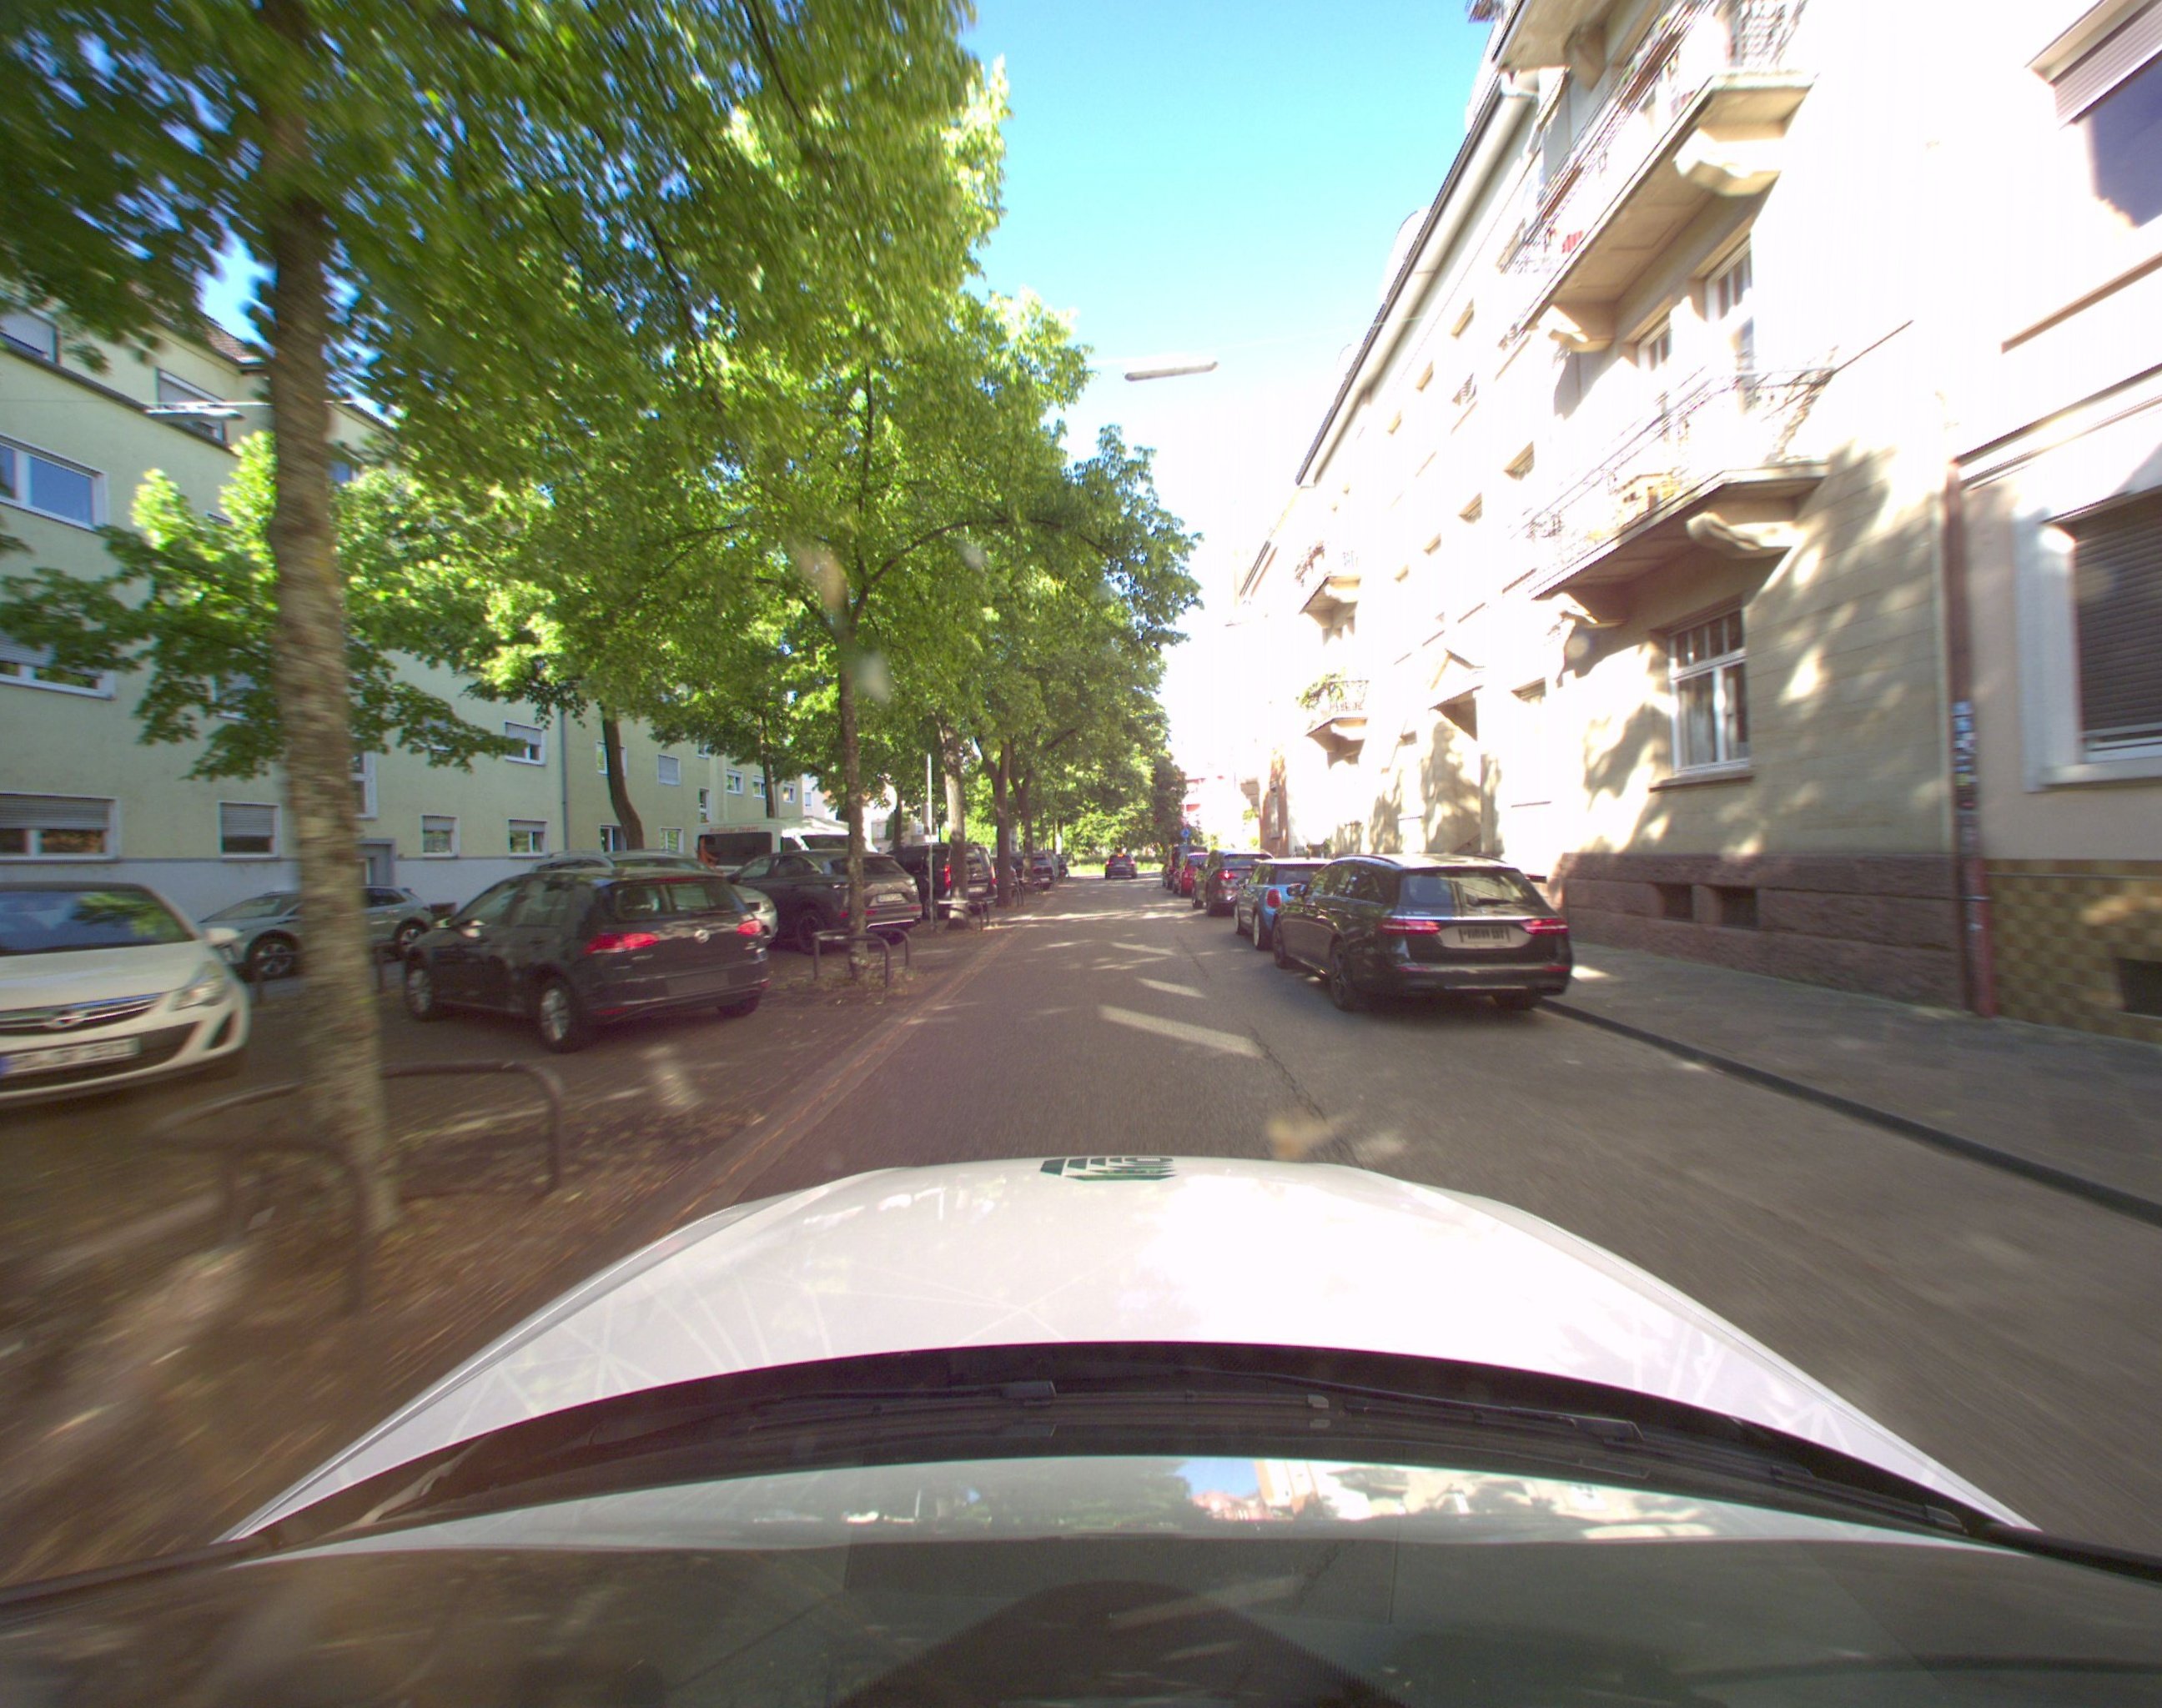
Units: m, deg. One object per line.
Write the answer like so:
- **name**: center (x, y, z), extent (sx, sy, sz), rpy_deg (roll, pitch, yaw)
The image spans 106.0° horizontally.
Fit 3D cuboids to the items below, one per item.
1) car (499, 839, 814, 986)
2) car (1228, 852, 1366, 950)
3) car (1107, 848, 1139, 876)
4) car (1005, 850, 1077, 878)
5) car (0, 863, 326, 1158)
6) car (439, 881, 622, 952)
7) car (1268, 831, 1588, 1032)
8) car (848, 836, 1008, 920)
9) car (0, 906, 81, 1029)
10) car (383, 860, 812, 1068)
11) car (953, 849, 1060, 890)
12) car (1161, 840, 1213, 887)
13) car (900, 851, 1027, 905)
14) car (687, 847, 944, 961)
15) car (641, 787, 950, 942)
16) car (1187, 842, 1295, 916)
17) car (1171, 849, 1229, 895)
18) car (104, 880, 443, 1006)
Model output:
- **car**: center (-6.163, 0.774, 11.738), extent (4.338, 1.777, 1.911), rpy_deg (-3, 0, 29)
- **car**: center (3.566, 0.699, 14.044), extent (1.583, 1.415, 3.635), rpy_deg (-1, 1, 3)
- **car**: center (2.414, 0.422, 47.247), extent (1.707, 1.483, 4.147), rpy_deg (-2, 0, 2)
- **car**: center (-2.348, 0.593, 47.047), extent (4.089, 1.481, 1.787), rpy_deg (-2, -1, 42)
- **car**: center (-7.398, 0.965, 5.886), extent (3.865, 1.555, 1.858), rpy_deg (-3, 1, 32)
- **car**: center (-14.855, 1.614, 22.355), extent (1.765, 1.517, 4.593), rpy_deg (-1, 1, 2)
- **car**: center (3.353, 0.612, 8.876), extent (1.797, 1.563, 4.325), rpy_deg (-3, 1, 3)
- **car**: center (-3.891, 0.588, 20.500), extent (3.801, 1.888, 1.856), rpy_deg (-2, 0, 38)
- **car**: center (-15.143, 1.607, 10.065), extent (1.469, 1.559, 3.185), rpy_deg (-4, 1, 1)
- **car**: center (-4.679, 0.875, 7.750), extent (4.056, 1.481, 1.743), rpy_deg (-2, 0, 31)
- **car**: center (-2.891, 0.605, 32.346), extent (4.079, 1.466, 1.865), rpy_deg (-1, -1, -3)
- **car**: center (4.463, 0.350, 34.857), extent (1.794, 1.870, 4.275), rpy_deg (1, 1, 2)
- **car**: center (-3.808, 0.779, 26.588), extent (3.699, 1.581, 1.643), rpy_deg (-2, 0, 14)
- **car**: center (-4.493, 0.743, 13.632), extent (4.221, 1.641, 1.665), rpy_deg (-1, 0, 30)
- **car**: center (-6.341, 0.295, 18.197), extent (6.017, 2.622, 2.466), rpy_deg (-6, -2, 17)
- **car**: center (3.963, 0.549, 20.917), extent (1.858, 1.643, 4.491), rpy_deg (-1, 1, 0)
- **car**: center (4.242, 0.584, 29.593), extent (1.639, 1.537, 4.002), rpy_deg (0, 1, 2)
- **car**: center (-14.874, 1.509, 15.483), extent (1.735, 1.722, 4.559), rpy_deg (-4, 1, 1)
